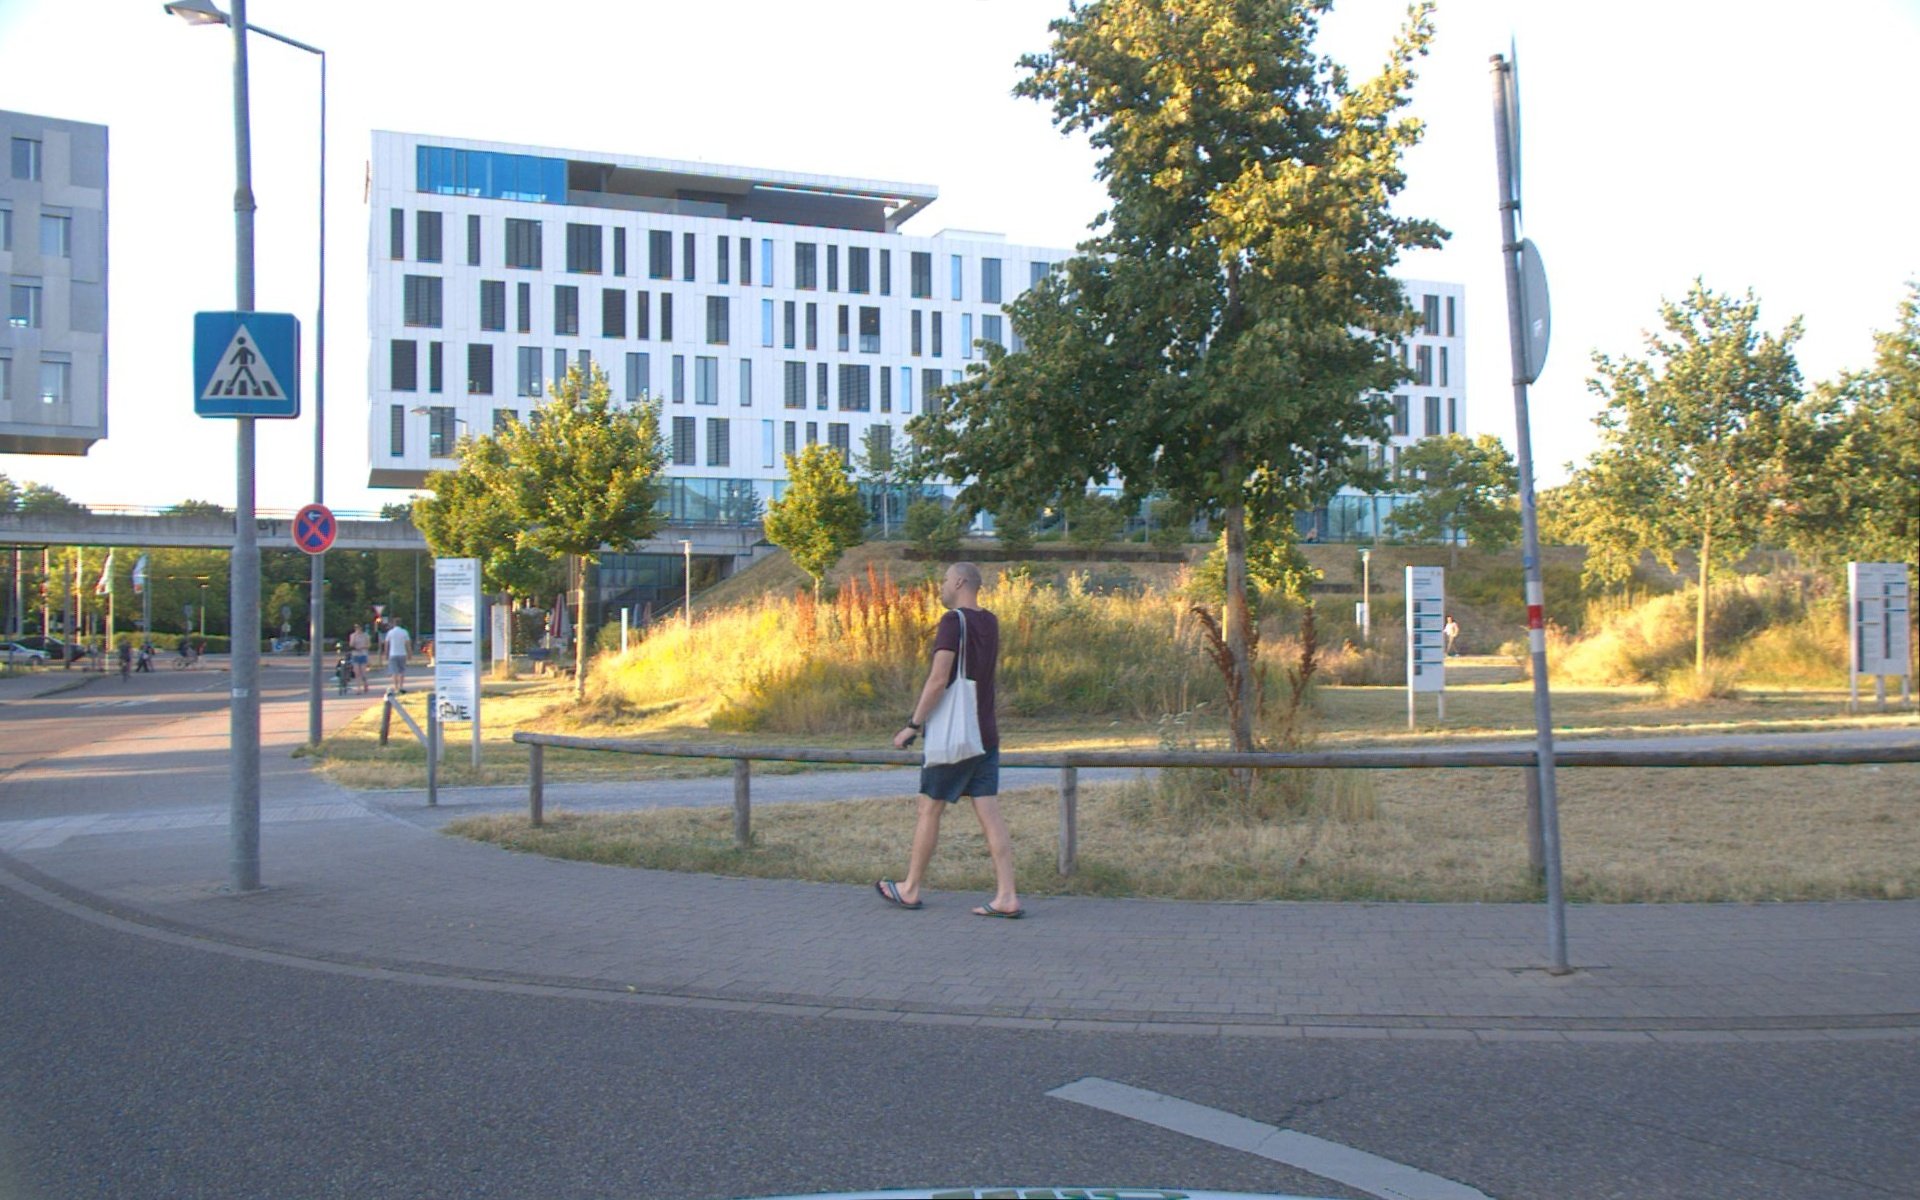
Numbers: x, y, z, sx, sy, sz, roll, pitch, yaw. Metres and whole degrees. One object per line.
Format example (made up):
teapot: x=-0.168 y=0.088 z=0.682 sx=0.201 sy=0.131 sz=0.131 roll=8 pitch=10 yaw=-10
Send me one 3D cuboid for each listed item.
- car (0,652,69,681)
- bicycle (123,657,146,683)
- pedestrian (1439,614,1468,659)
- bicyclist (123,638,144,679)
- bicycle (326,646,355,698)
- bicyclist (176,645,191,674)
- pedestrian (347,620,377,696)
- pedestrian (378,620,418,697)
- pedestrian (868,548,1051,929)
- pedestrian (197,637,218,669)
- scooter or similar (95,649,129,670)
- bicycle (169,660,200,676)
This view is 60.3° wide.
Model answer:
car: x=-60.181 y=4.268 z=106.938 sx=4.353 sy=1.755 sz=1.822 roll=0 pitch=-1 yaw=-23
bicycle: x=-35.399 y=2.994 z=70.918 sx=0.530 sy=1.061 sz=1.917 roll=0 pitch=0 yaw=-15
pedestrian: x=20.216 y=1.482 z=67.774 sx=0.801 sy=1.797 sz=0.831 roll=0 pitch=-1 yaw=-13
bicyclist: x=-35.407 y=2.504 z=70.883 sx=0.604 sy=1.692 sz=1.032 roll=0 pitch=-1 yaw=-16
bicycle: x=-15.043 y=1.740 z=40.183 sx=0.442 sy=1.189 sz=1.933 roll=0 pitch=0 yaw=-14
bicyclist: x=-47.140 y=3.612 z=100.414 sx=0.758 sy=1.734 sz=0.507 roll=0 pitch=-1 yaw=-30
pedestrian: x=-14.595 y=1.410 z=40.370 sx=0.584 sy=1.833 sz=0.815 roll=0 pitch=-1 yaw=-13
pedestrian: x=-13.412 y=1.391 z=39.506 sx=0.817 sy=1.797 sz=0.815 roll=0 pitch=-1 yaw=-14
pedestrian: x=-0.018 y=0.664 z=8.391 sx=0.720 sy=1.815 sz=0.798 roll=0 pitch=-1 yaw=-18
pedestrian: x=-44.650 y=3.136 z=98.122 sx=1.044 sy=1.866 sz=0.885 roll=0 pitch=-1 yaw=-34
scooter or similar: x=-50.881 y=3.576 z=99.239 sx=1.839 sy=1.194 sz=0.756 roll=0 pitch=-1 yaw=-29
bicycle: x=-47.073 y=4.133 z=100.440 sx=1.675 sy=0.965 sz=0.507 roll=0 pitch=-1 yaw=-30
